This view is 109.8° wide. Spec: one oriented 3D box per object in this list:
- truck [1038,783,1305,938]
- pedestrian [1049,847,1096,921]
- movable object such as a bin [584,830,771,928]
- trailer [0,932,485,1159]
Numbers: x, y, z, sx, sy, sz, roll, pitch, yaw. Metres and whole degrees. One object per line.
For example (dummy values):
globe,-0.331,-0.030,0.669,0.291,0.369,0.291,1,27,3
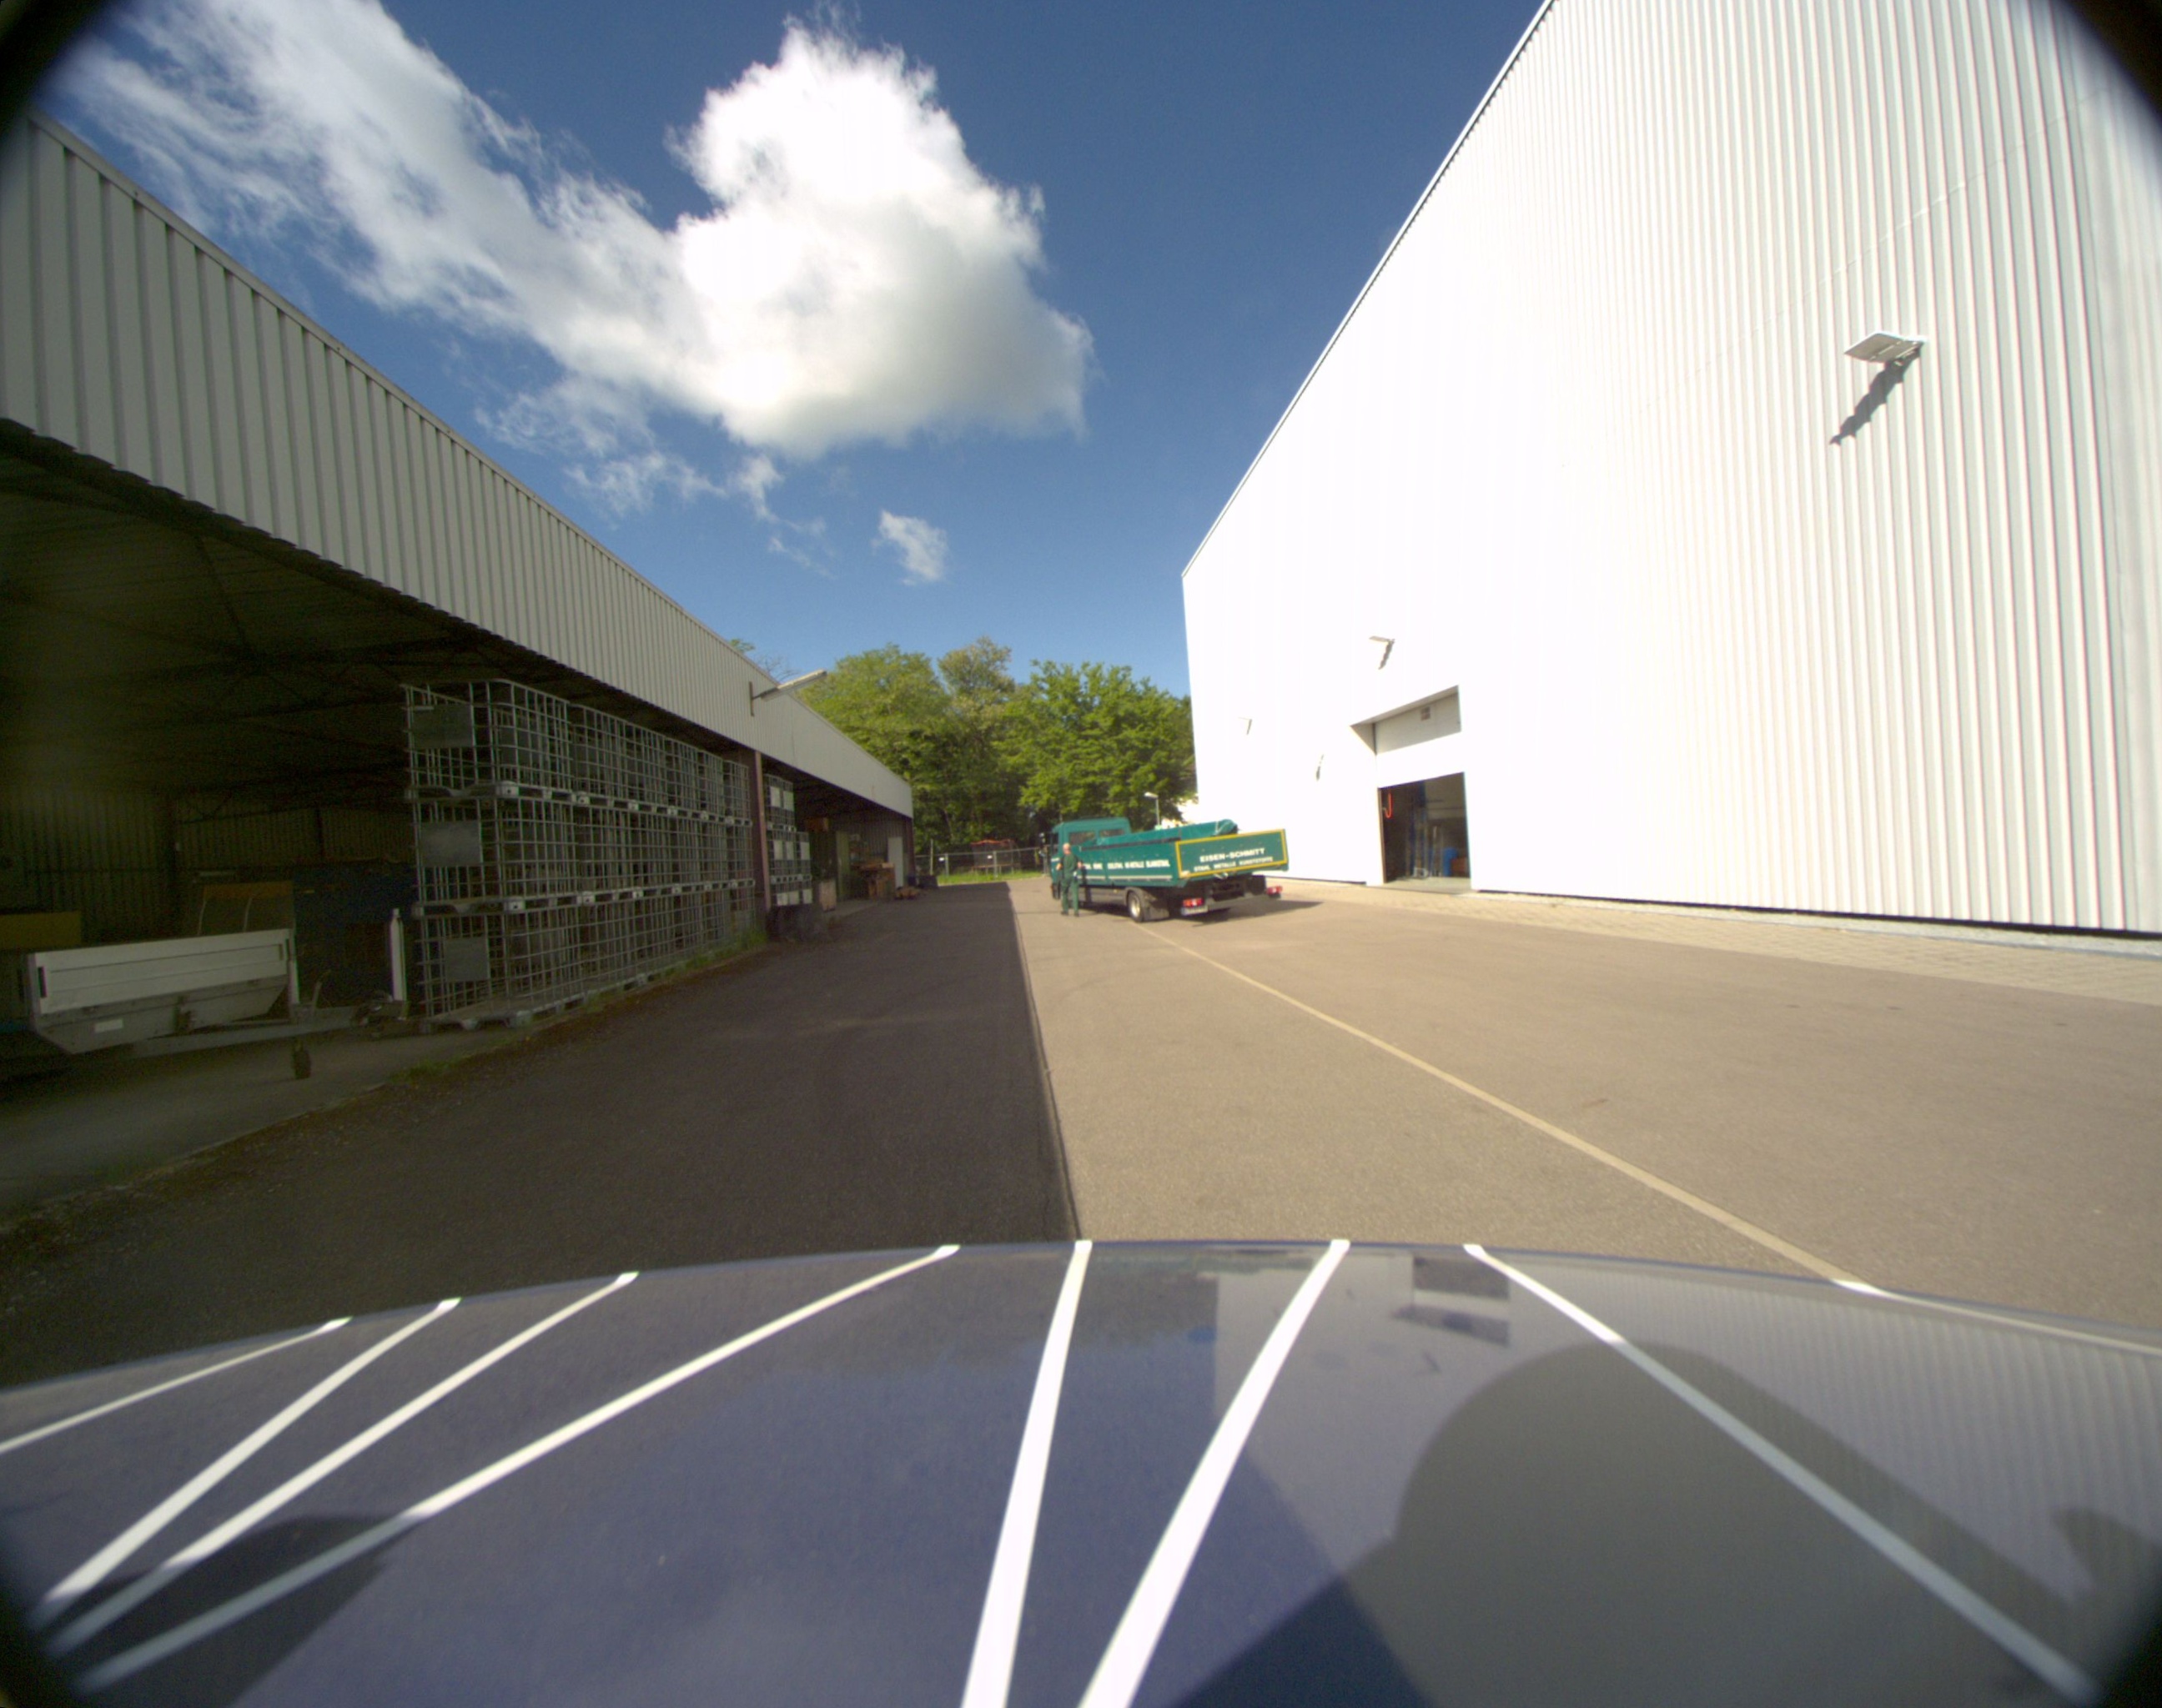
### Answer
truck,1.546,0.193,19.149,2.590,2.701,9.681,-7,1,-18
pedestrian,-0.233,0.739,19.237,0.895,1.792,1.038,-2,1,-17
movable object such as a bin,-12.379,0.743,23.600,4.629,2.706,1.999,-2,-1,-8
trailer,-8.236,1.437,5.615,5.752,1.126,2.007,-3,0,-7
